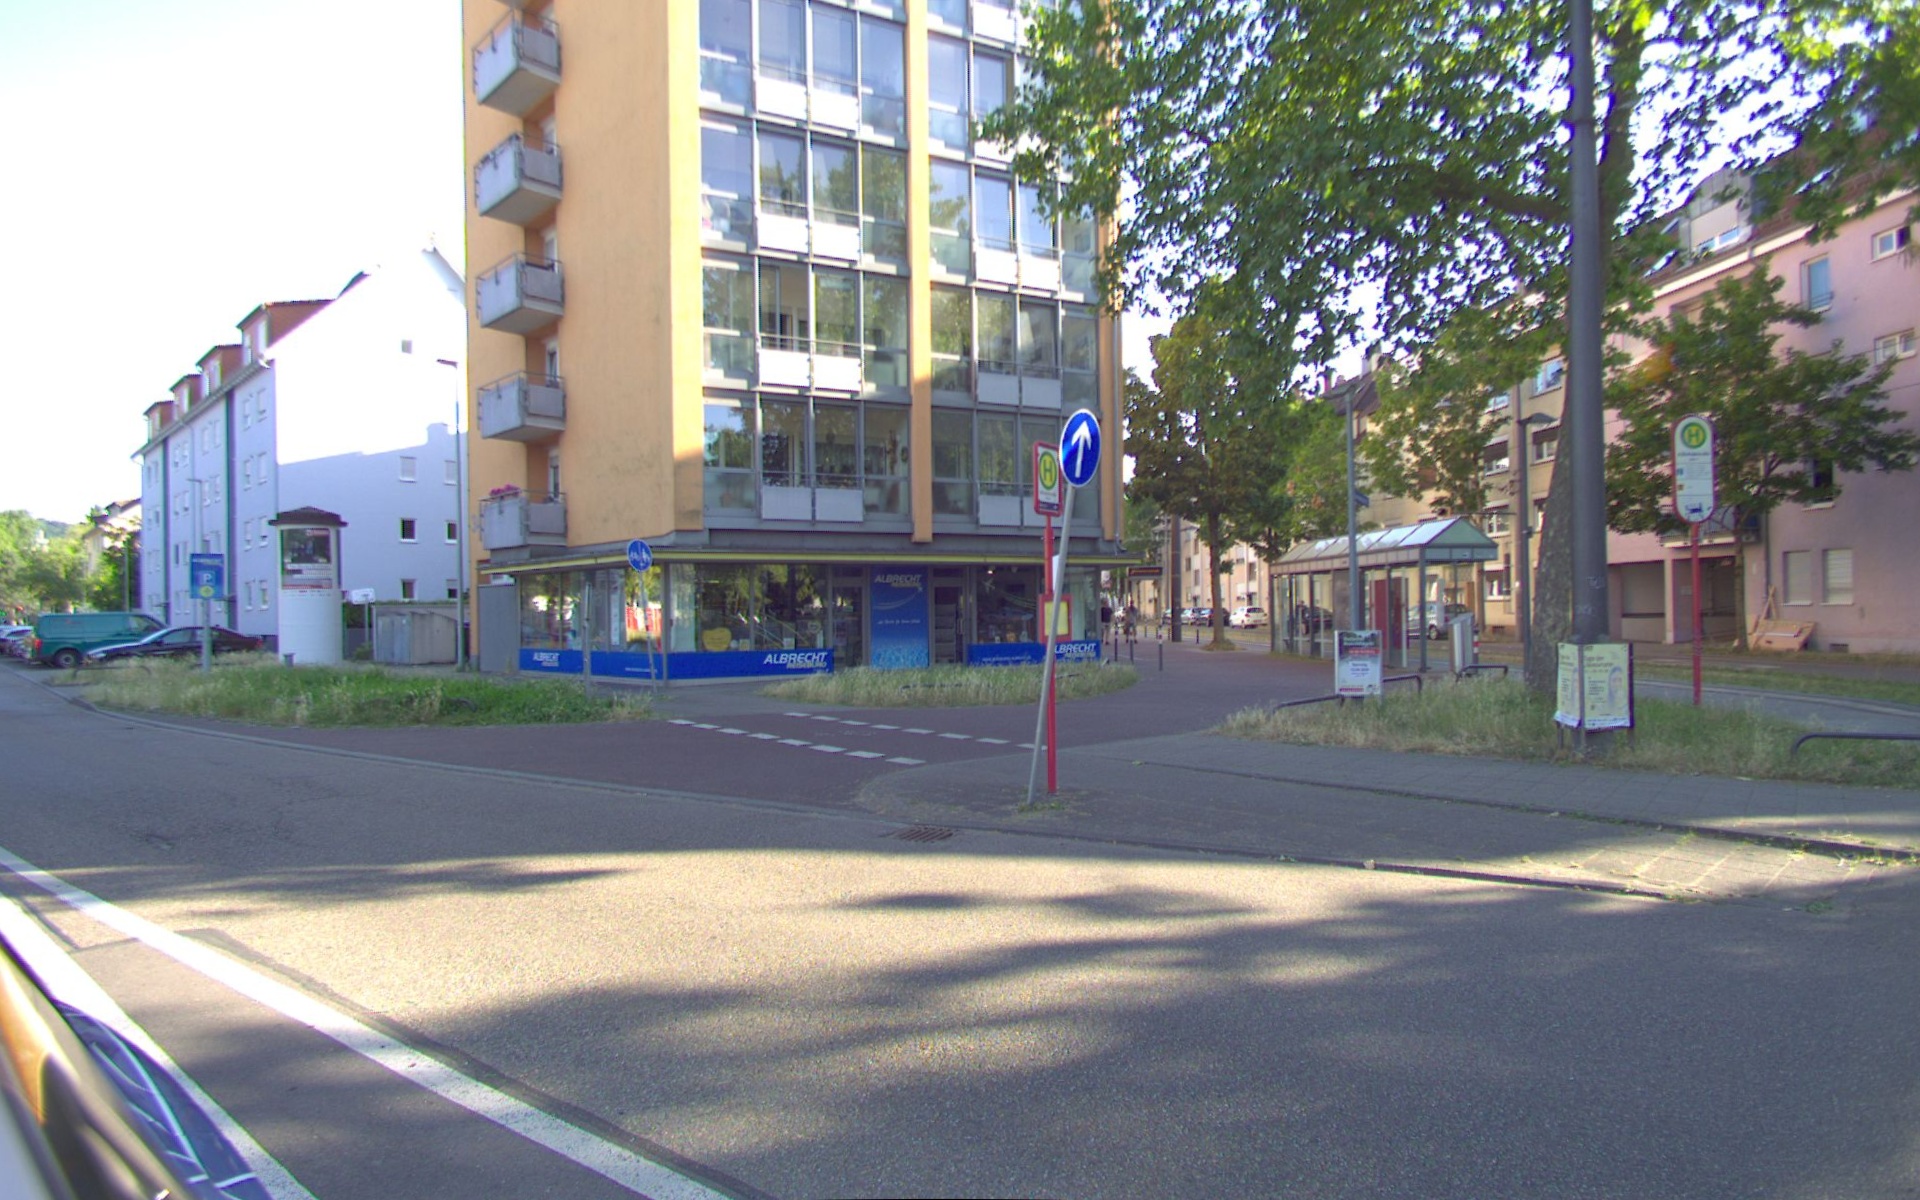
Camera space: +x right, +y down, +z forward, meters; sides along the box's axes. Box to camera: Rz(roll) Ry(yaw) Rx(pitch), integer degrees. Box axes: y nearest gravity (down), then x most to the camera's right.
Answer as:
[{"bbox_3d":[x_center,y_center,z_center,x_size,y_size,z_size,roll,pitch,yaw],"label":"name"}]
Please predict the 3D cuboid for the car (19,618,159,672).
[{"bbox_3d":[-33.127,1.656,38.537,3.941,1.829,2.001,-1,0,-44],"label":"car"}]

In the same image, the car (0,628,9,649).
[{"bbox_3d":[-74.766,2.999,76.968,3.490,1.585,1.867,-1,0,-44],"label":"car"}]

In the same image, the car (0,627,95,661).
[{"bbox_3d":[-48.127,2.284,52.962,4.199,1.585,1.867,-1,0,-44],"label":"car"}]

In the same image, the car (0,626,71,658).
[{"bbox_3d":[-55.799,2.482,60.440,4.016,1.765,1.900,-1,0,-44],"label":"car"}]

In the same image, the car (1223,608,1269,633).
[{"bbox_3d":[19.165,1.352,68.057,1.741,1.588,4.049,-1,0,-3],"label":"car"}]

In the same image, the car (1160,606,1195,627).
[{"bbox_3d":[18.424,1.399,85.806,1.830,1.719,4.170,-1,0,-3],"label":"car"}]

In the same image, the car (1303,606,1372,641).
[{"bbox_3d":[19.910,1.207,53.605,1.911,1.719,4.115,-1,0,-3],"label":"car"}]

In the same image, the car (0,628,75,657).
[{"bbox_3d":[-55.666,2.512,60.387,4.199,1.585,1.867,-1,0,-44],"label":"car"}]

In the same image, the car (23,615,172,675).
[{"bbox_3d":[-31.221,1.565,36.693,2.001,1.962,3.942,-1,0,44],"label":"car"}]

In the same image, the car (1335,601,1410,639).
[{"bbox_3d":[19.899,0.923,48.992,1.911,1.719,3.827,-1,0,-3],"label":"car"}]

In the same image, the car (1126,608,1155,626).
[{"bbox_3d":[17.777,1.644,99.878,1.911,1.719,4.003,-1,0,-3],"label":"car"}]

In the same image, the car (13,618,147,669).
[{"bbox_3d":[-35.127,1.682,40.439,3.941,1.829,2.001,-1,0,-44],"label":"car"}]

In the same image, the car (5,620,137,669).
[{"bbox_3d":[-36.864,1.815,42.017,4.003,1.829,1.938,-1,0,-44],"label":"car"}]

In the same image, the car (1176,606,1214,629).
[{"bbox_3d":[18.636,1.357,80.352,1.771,1.719,4.170,-1,0,-3],"label":"car"}]

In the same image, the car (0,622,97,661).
[{"bbox_3d":[-46.124,2.047,50.871,4.061,1.785,1.758,-1,0,-44],"label":"car"}]

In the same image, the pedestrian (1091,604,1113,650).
[{"bbox_3d":[5.611,1.063,40.064,0.803,1.763,0.538,-1,0,6],"label":"pedestrian"}]

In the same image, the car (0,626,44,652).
[{"bbox_3d":[-63.502,2.614,66.999,4.199,1.585,1.867,-1,0,-44],"label":"car"}]

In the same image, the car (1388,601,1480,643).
[{"bbox_3d":[20.739,0.912,44.437,1.911,1.719,4.115,-1,0,-3],"label":"car"}]

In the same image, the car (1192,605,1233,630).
[{"bbox_3d":[18.698,1.272,75.162,1.808,1.719,4.059,-1,0,-3],"label":"car"}]

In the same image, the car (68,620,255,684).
[{"bbox_3d":[-24.279,1.516,30.871,4.361,1.674,2.003,-1,0,-41],"label":"car"}]

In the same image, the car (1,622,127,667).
[{"bbox_3d":[-38.834,1.873,43.935,4.016,1.765,1.900,-1,0,-44],"label":"car"}]

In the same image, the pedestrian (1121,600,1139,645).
[{"bbox_3d":[6.729,0.882,40.004,0.622,1.763,0.689,-1,0,6],"label":"pedestrian"}]
